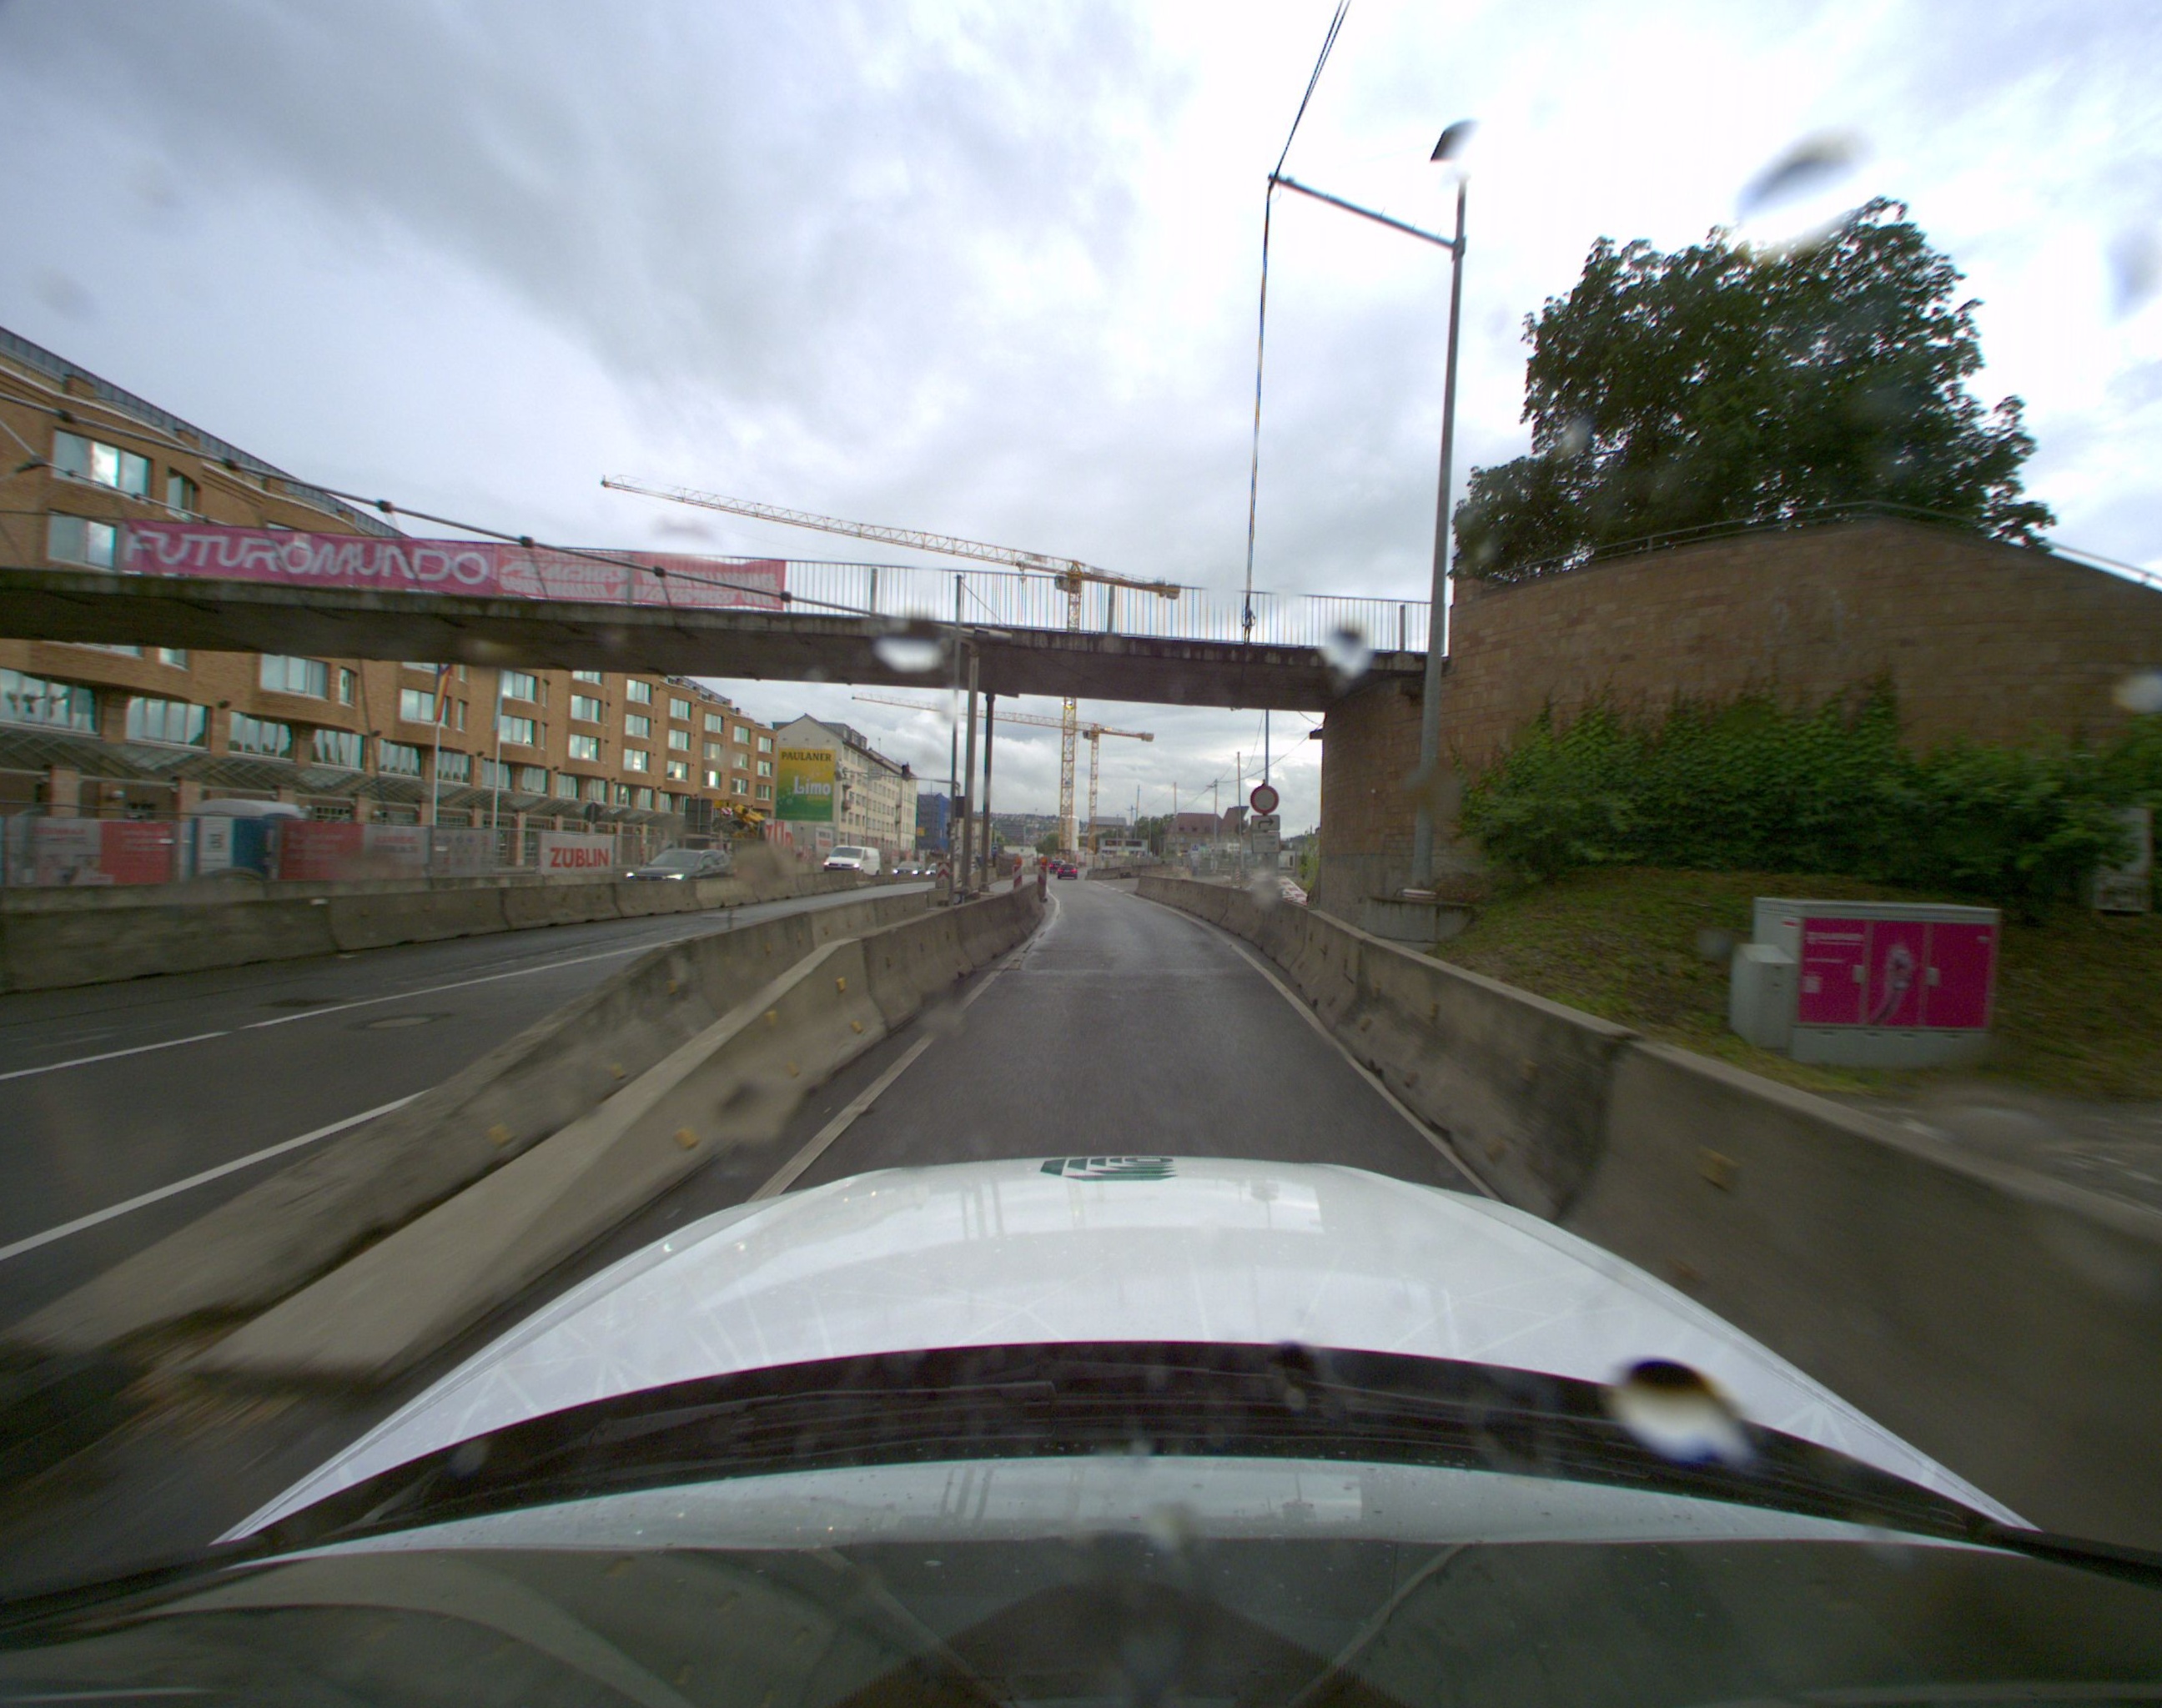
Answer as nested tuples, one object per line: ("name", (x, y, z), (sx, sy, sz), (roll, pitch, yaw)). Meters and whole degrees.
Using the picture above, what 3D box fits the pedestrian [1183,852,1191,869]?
("pedestrian", (10.982, 0.662, 84.498), (0.687, 1.778, 1.022), (1, -1, -1))

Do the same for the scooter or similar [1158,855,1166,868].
("scooter or similar", (7.323, 0.685, 73.435), (0.487, 1.179, 1.101), (1, 1, 18))

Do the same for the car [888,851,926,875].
("car", (-12.788, 0.619, 60.043), (1.799, 1.623, 4.035), (1, 1, 1))

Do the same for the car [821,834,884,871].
("car", (-12.248, -0.145, 44.023), (1.799, 1.821, 5.302), (1, 1, 1))

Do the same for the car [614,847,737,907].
("car", (-12.480, 0.650, 25.360), (1.799, 1.623, 3.904), (1, 1, 1))

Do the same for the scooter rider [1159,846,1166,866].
("scooter rider", (7.330, 0.168, 73.429), (0.517, 1.755, 0.702), (1, 0, 17))

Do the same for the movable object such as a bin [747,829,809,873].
("movable object such as a bin", (-16.750, -0.164, 45.204), (2.023, 2.277, 4.286), (-2, 1, -4))

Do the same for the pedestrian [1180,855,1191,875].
("pedestrian", (9.333, 0.977, 72.503), (0.692, 1.778, 0.810), (1, -1, -19))

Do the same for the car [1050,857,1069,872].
("car", (-2.530, 1.232, 96.293), (1.855, 1.660, 4.660), (2, 1, 3))

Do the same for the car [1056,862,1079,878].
("car", (-1.187, 1.517, 75.779), (1.856, 1.433, 4.657), (2, -2, 2))
